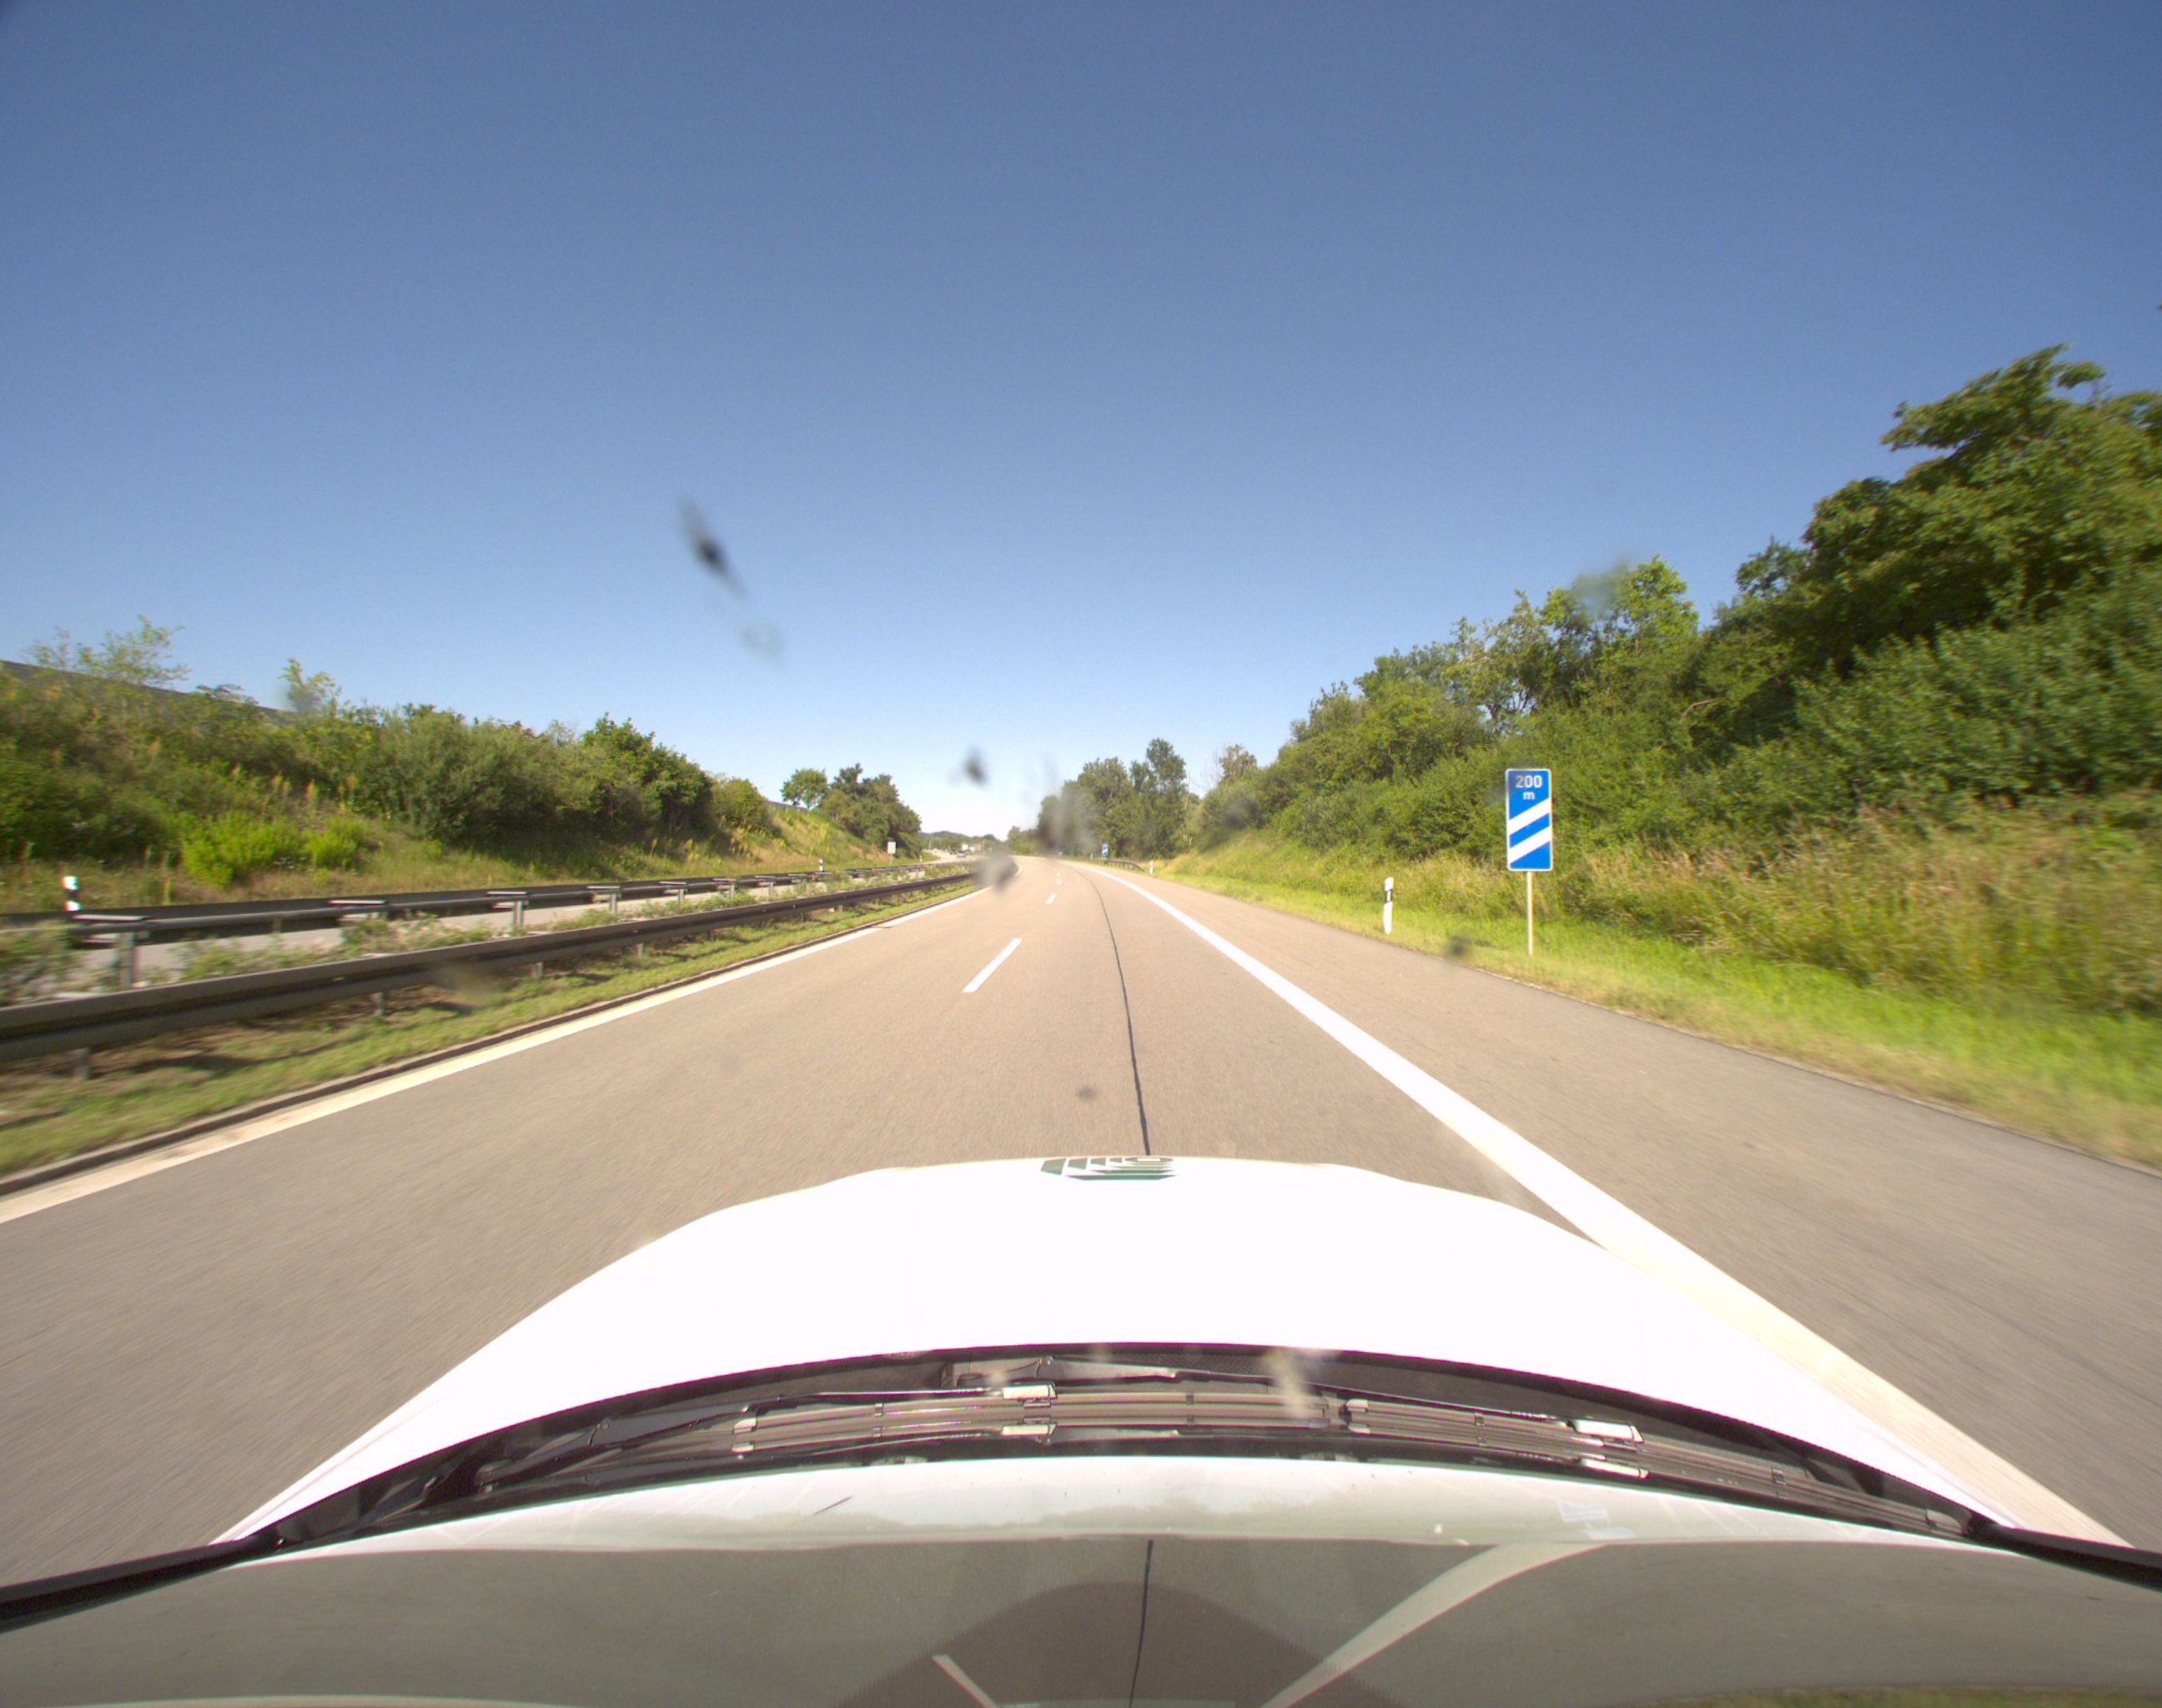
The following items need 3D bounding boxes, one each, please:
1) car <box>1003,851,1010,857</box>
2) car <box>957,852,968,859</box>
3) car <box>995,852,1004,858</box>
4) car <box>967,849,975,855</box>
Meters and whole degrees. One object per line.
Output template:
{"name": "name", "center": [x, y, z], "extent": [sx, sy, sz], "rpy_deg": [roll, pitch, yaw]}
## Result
{"name": "car", "center": [-23.794, 0.015, 258.728], "extent": [1.784, 1.431, 3.986], "rpy_deg": [5, -1, -10]}
{"name": "car", "center": [-25.213, 0.353, 173.384], "extent": [1.816, 1.480, 4.678], "rpy_deg": [0, 0, -4]}
{"name": "car", "center": [-21.367, 0.287, 213.139], "extent": [2.063, 1.625, 3.982], "rpy_deg": [1, -2, -12]}
{"name": "car", "center": [-29.962, -0.505, 222.007], "extent": [2.065, 1.679, 4.878], "rpy_deg": [-1, 1, -5]}
